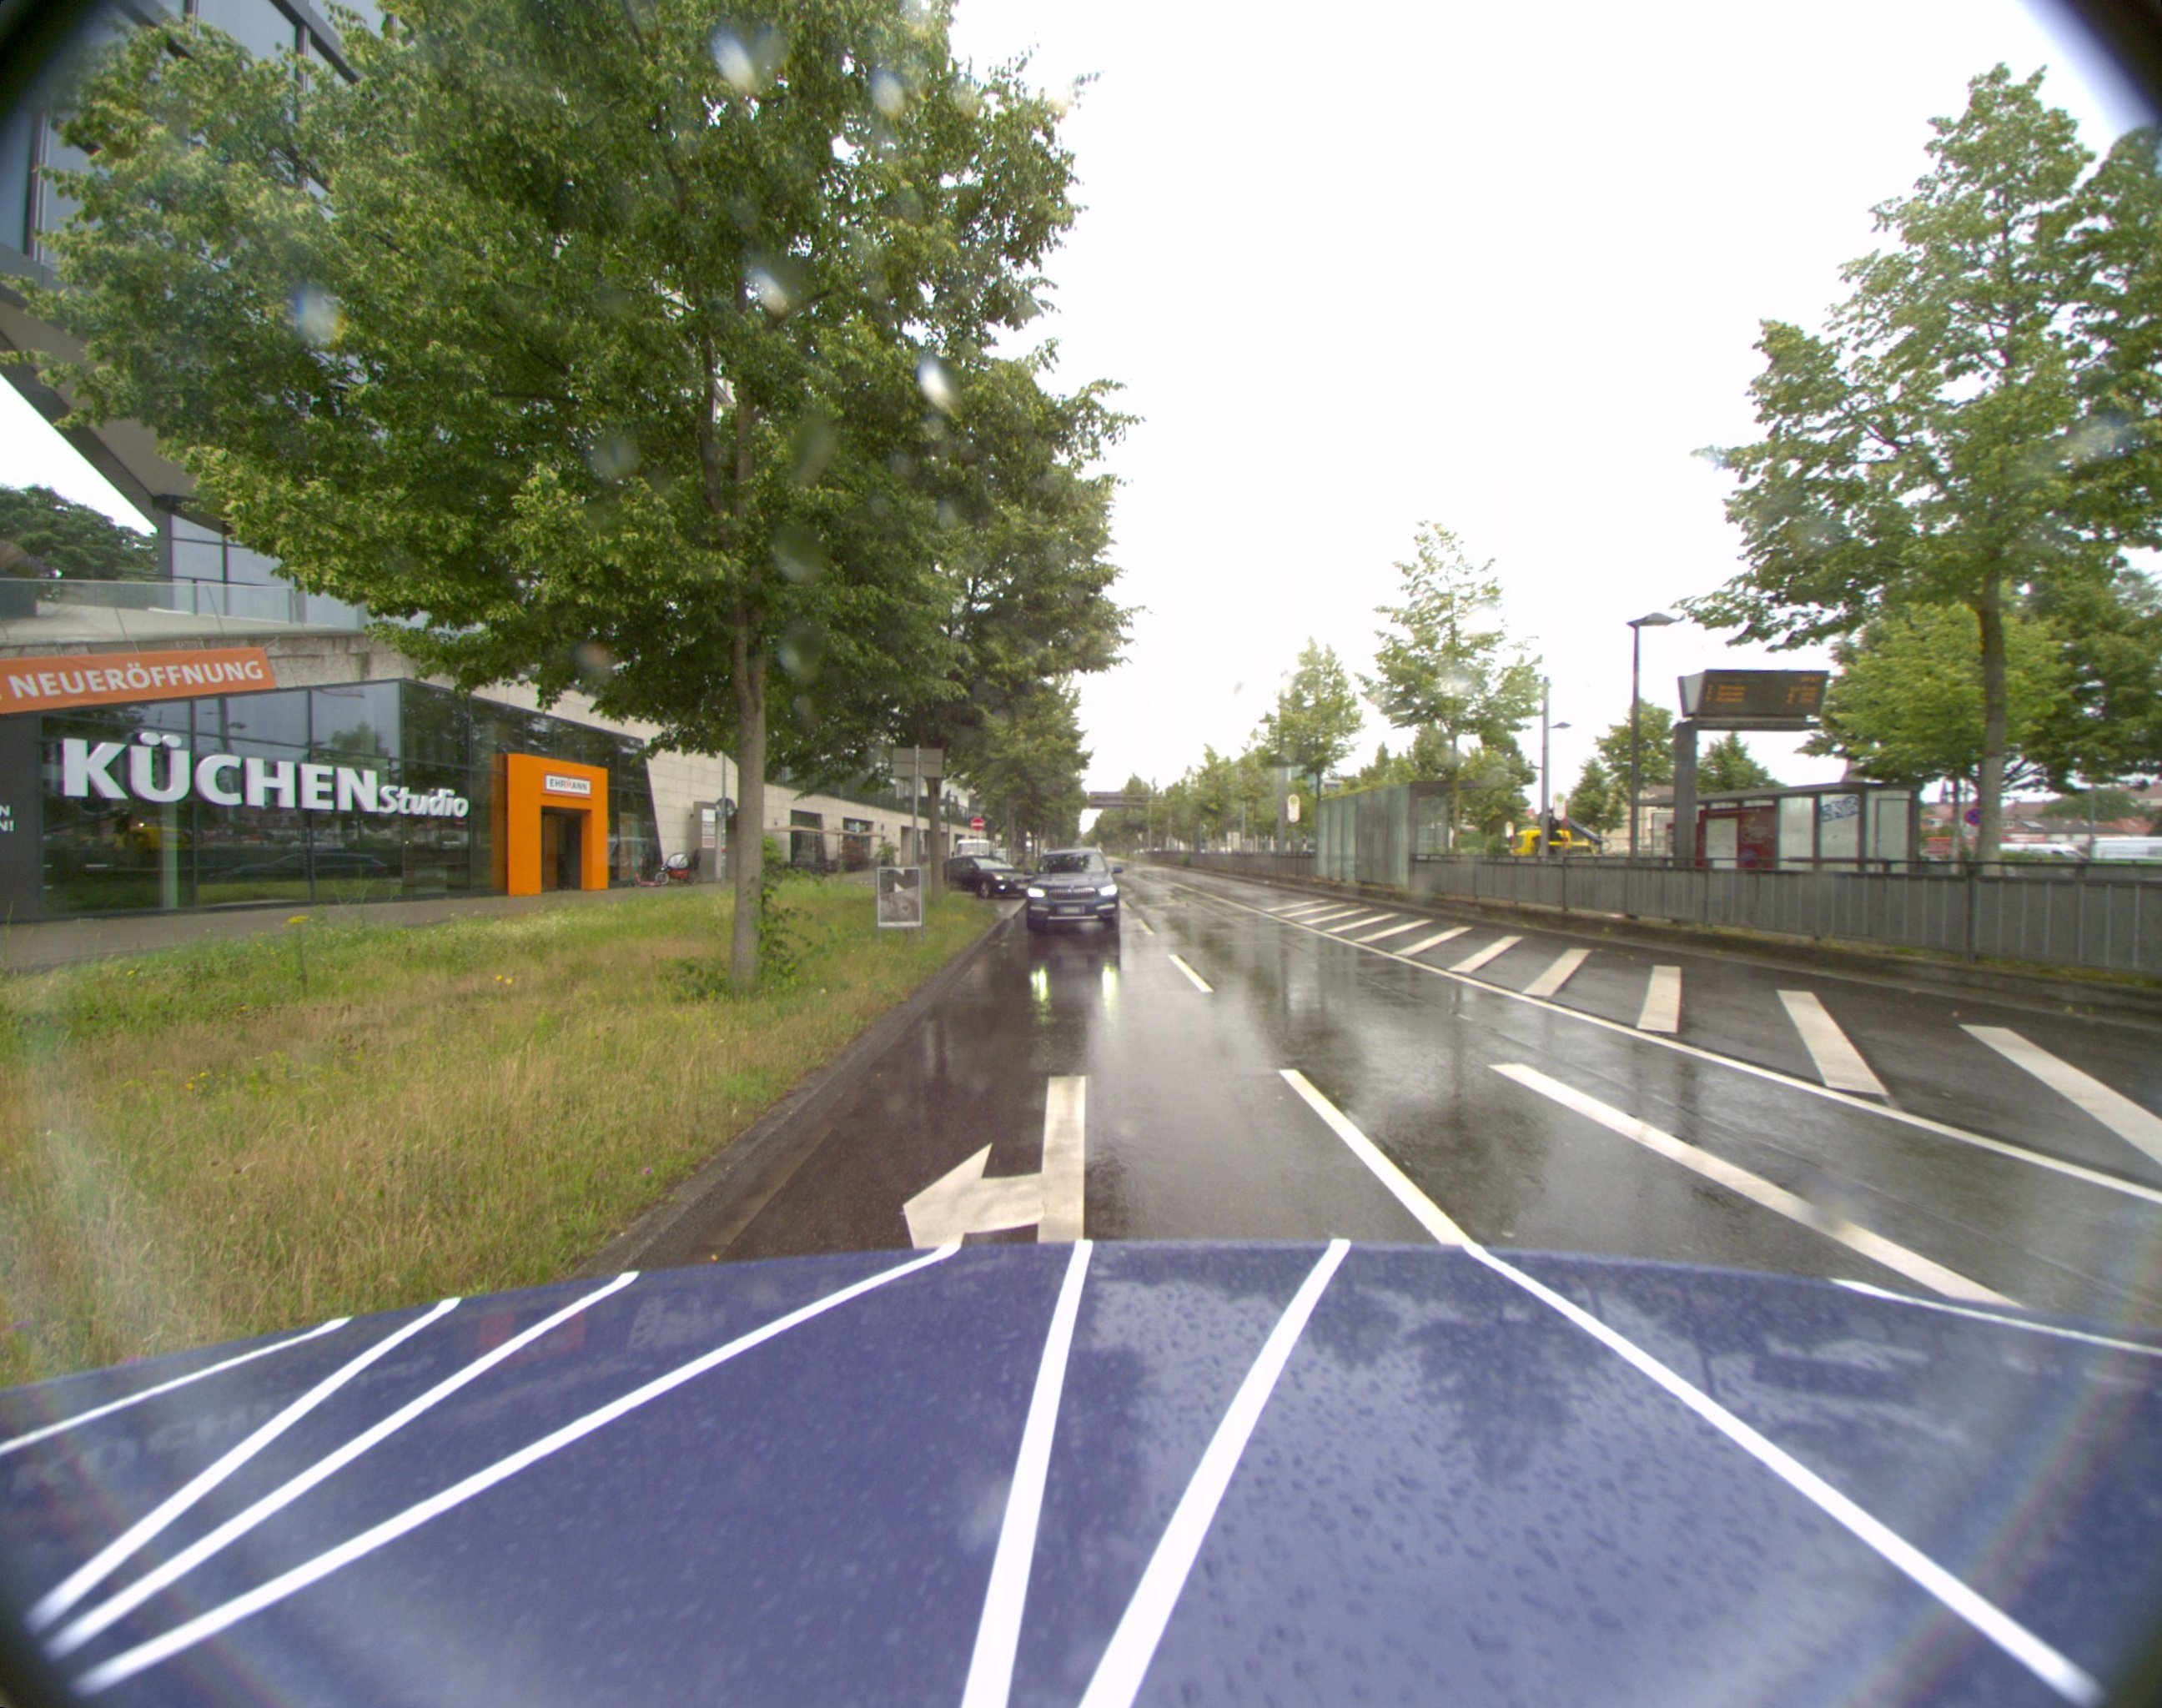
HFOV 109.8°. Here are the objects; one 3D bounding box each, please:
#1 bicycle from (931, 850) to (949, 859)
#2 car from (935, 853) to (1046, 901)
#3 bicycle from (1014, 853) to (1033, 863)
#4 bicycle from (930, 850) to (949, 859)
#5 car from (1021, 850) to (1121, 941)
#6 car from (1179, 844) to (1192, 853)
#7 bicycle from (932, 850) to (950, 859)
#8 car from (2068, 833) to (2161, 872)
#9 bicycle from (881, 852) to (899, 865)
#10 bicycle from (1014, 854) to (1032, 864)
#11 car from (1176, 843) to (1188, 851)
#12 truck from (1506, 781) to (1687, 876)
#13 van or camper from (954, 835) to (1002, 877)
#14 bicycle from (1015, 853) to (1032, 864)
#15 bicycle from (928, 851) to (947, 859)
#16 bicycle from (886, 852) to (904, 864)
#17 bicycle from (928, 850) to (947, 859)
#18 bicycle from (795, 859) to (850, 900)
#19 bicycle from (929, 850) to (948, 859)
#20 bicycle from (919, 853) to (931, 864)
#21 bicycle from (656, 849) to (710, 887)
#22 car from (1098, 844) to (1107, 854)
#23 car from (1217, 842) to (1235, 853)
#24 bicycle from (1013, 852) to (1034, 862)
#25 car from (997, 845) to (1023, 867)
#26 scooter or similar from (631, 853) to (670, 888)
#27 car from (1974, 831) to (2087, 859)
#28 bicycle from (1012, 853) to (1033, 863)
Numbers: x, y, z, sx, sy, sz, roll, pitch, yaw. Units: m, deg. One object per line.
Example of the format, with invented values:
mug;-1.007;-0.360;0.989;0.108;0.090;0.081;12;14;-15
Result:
bicycle;-15.932;0.063;85.943;2.029;0.940;0.395;1;1;-4
car;-3.184;0.714;25.957;1.836;1.412;4.334;-2;1;-37
bicycle;-5.728;0.384;75.500;1.882;0.940;0.395;-2;2;-4
bicycle;-15.893;0.066;85.427;2.029;0.940;0.395;1;1;-4
car;-0.159;0.773;16.315;1.816;1.603;3.999;-2;1;1
car;22.217;-1.242;161.379;1.999;1.736;3.998;-2;1;-2
bicycle;-15.965;0.056;86.674;2.029;0.940;0.395;1;1;-4
car;70.124;-0.125;49.748;1.999;2.448;6.744;-2;1;-4
bicycle;-15.399;0.366;61.355;0.396;0.940;2.024;-4;2;-45
bicycle;-5.558;0.464;73.022;1.699;0.940;0.395;-2;2;-4
car;23.873;-1.691;179.736;1.999;1.736;3.998;-2;1;-2
truck;23.561;-1.133;35.547;2.693;3.756;9.183;-2;1;4
van or camper;-5.865;0.066;44.015;2.030;2.279;5.458;-1;1;0
bicycle;-5.557;0.430;73.670;1.649;0.940;0.395;-2;2;-4
bicycle;-15.800;0.102;83.532;2.029;0.940;0.395;1;1;-4
bicycle;-15.229;0.345;62.052;0.396;0.940;2.024;-4;2;-45
bicycle;-15.876;0.093;84.253;2.029;0.940;0.395;1;1;-4
bicycle;-8.613;0.850;25.292;1.843;1.338;0.533;-1;0;26
bicycle;-15.906;0.086;84.846;2.029;0.940;0.395;1;1;-4
bicycle;-13.204;0.363;64.306;0.402;0.940;1.859;-1;1;8
bicycle;-15.437;0.516;29.556;0.734;1.394;2.425;1;0;1
car;5.085;-1.174;182.088;1.998;2.232;3.999;-2;1;1
car;25.030;-1.097;131.234;1.999;1.736;3.998;-2;1;-2
bicycle;-5.865;0.343;77.768;2.040;0.940;0.395;-2;2;-4
car;-5.761;0.130;62.178;1.746;1.749;4.847;-1;1;0
scooter or similar;-15.639;0.587;27.633;0.342;1.221;1.242;-2;2;19
car;84.240;-0.780;67.587;2.000;2.293;6.138;-3;1;-9
bicycle;-5.896;0.372;76.422;2.040;0.940;0.395;-2;2;-4
